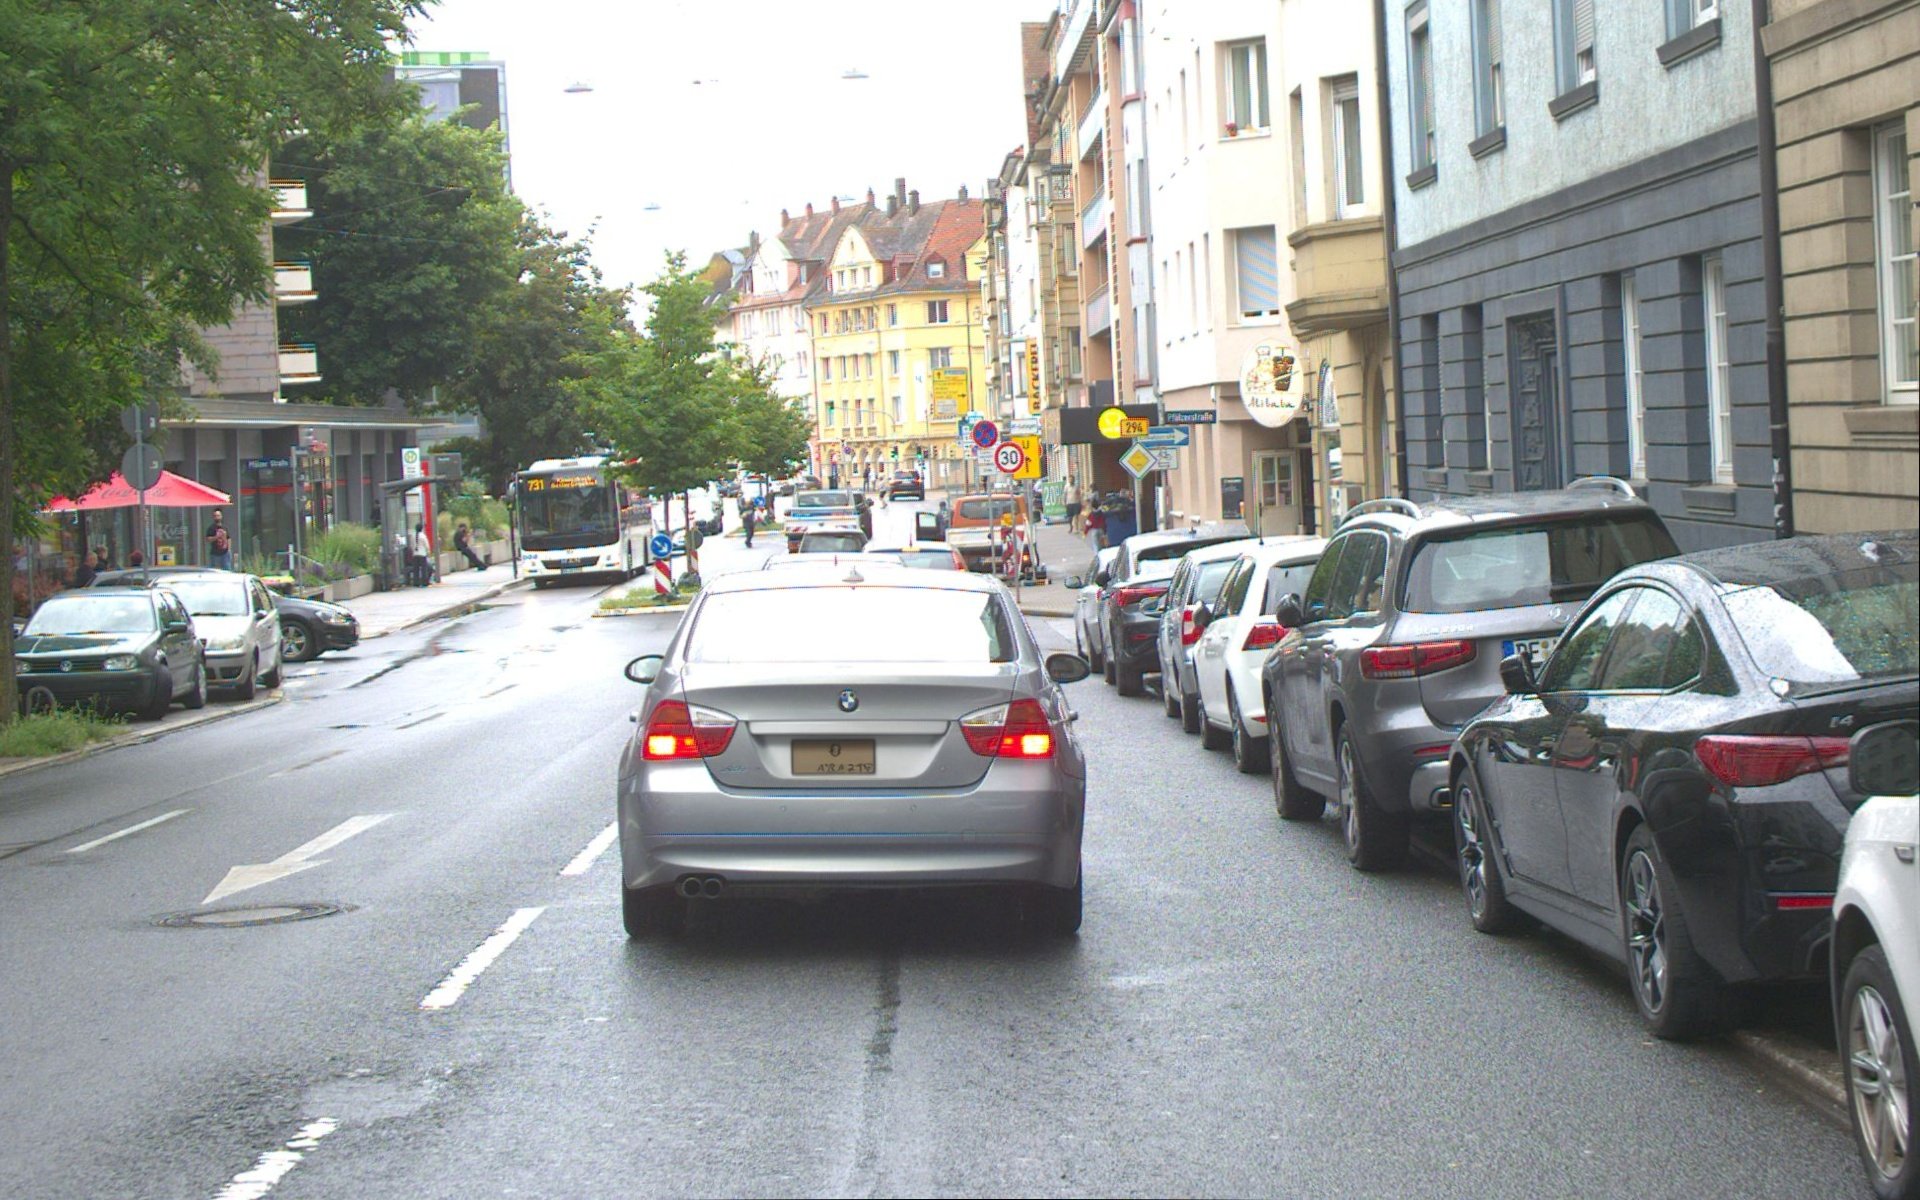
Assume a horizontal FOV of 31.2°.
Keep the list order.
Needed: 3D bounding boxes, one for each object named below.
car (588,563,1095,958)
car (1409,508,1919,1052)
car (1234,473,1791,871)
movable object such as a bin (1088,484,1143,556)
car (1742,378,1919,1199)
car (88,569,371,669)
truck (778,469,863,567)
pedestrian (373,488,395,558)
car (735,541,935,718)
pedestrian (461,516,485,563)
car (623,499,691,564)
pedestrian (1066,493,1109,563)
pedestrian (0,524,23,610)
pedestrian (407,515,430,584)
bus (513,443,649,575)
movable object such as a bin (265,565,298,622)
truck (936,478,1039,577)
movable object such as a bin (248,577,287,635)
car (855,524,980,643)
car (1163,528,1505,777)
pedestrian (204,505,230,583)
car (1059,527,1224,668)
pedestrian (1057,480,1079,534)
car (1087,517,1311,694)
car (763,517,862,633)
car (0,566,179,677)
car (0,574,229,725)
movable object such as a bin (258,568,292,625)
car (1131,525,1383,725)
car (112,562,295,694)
[{"bbox_3d":[-0.445,0.554,13.602,1.756,1.358,3.165,-1,0,-1],"label":"car"},{"bbox_3d":[2.861,0.443,11.703,1.840,1.404,4.388,-4,1,-2],"label":"car"},{"bbox_3d":[2.566,0.290,17.007,1.840,1.615,4.208,-3,1,-2],"label":"car"},{"bbox_3d":[3.838,-1.974,84.981,1.122,1.697,1.434,-3,0,-3],"label":"movable object such as a bin"},{"bbox_3d":[2.914,0.408,6.417,1.790,1.811,4.080,-4,1,-1],"label":"car"},{"bbox_3d":[-10.743,0.271,50.726,3.815,1.385,1.743,-1,0,-2],"label":"car"},{"bbox_3d":[-3.781,-2.202,93.351,2.216,2.535,4.780,1,0,-2],"label":"truck"},{"bbox_3d":[-14.873,-1.977,88.748,0.542,1.783,0.508,1,0,-10],"label":"pedestrian"},{"bbox_3d":[-1.106,0.231,29.483,1.601,1.415,3.288,1,0,-3],"label":"car"},{"bbox_3d":[-14.319,-1.778,101.069,0.619,1.373,0.544,1,0,0],"label":"pedestrian"},{"bbox_3d":[-9.848,-2.215,111.993,1.993,2.007,4.000,1,0,-2],"label":"car"},{"bbox_3d":[3.061,-1.731,82.601,0.750,1.655,0.755,1,0,-28],"label":"pedestrian"},{"bbox_3d":[-20.325,-0.700,72.927,0.633,1.809,0.638,-3,2,-33],"label":"pedestrian"},{"bbox_3d":[-13.429,-1.254,85.266,0.542,1.703,0.466,1,0,-7],"label":"pedestrian"},{"bbox_3d":[-9.928,-2.308,91.149,2.681,3.190,11.957,1,0,-2],"label":"bus"},{"bbox_3d":[-13.263,-0.123,67.227,0.490,1.077,0.606,-3,0,0],"label":"movable object such as a bin"},{"bbox_3d":[0.647,-1.610,77.875,2.215,2.109,4.652,2,1,1],"label":"truck"},{"bbox_3d":[-13.136,0.115,65.206,0.554,1.077,0.731,-3,0,0],"label":"movable object such as a bin"},{"bbox_3d":[-0.482,-0.198,41.620,1.435,1.352,3.762,1,0,0],"label":"car"},{"bbox_3d":[2.476,0.290,23.658,1.729,1.424,3.974,-5,1,-1],"label":"car"},{"bbox_3d":[-17.057,-1.290,78.950,0.464,1.783,0.544,1,0,-1],"label":"pedestrian"},{"bbox_3d":[2.075,-0.066,40.225,1.569,1.459,4.089,-4,1,-1],"label":"car"},{"bbox_3d":[3.355,-2.897,107.043,0.615,1.655,0.754,1,0,5],"label":"pedestrian"},{"bbox_3d":[2.339,0.010,34.620,1.818,1.552,4.293,-4,1,-1],"label":"car"},{"bbox_3d":[-2.691,-0.445,62.034,1.705,2.007,4.000,1,0,-3],"label":"car"},{"bbox_3d":[-13.022,0.320,47.842,3.816,1.385,1.743,-2,2,2],"label":"car"},{"bbox_3d":[-9.163,0.493,37.532,1.653,1.449,3.943,-2,1,-3],"label":"car"},{"bbox_3d":[-13.211,-0.074,66.306,0.490,1.077,0.606,-3,0,0],"label":"movable object such as a bin"},{"bbox_3d":[2.390,0.155,28.409,1.583,1.424,3.595,-5,1,-1],"label":"car"},{"bbox_3d":[-9.158,0.301,41.846,1.631,1.449,3.840,-2,1,-5],"label":"car"}]
